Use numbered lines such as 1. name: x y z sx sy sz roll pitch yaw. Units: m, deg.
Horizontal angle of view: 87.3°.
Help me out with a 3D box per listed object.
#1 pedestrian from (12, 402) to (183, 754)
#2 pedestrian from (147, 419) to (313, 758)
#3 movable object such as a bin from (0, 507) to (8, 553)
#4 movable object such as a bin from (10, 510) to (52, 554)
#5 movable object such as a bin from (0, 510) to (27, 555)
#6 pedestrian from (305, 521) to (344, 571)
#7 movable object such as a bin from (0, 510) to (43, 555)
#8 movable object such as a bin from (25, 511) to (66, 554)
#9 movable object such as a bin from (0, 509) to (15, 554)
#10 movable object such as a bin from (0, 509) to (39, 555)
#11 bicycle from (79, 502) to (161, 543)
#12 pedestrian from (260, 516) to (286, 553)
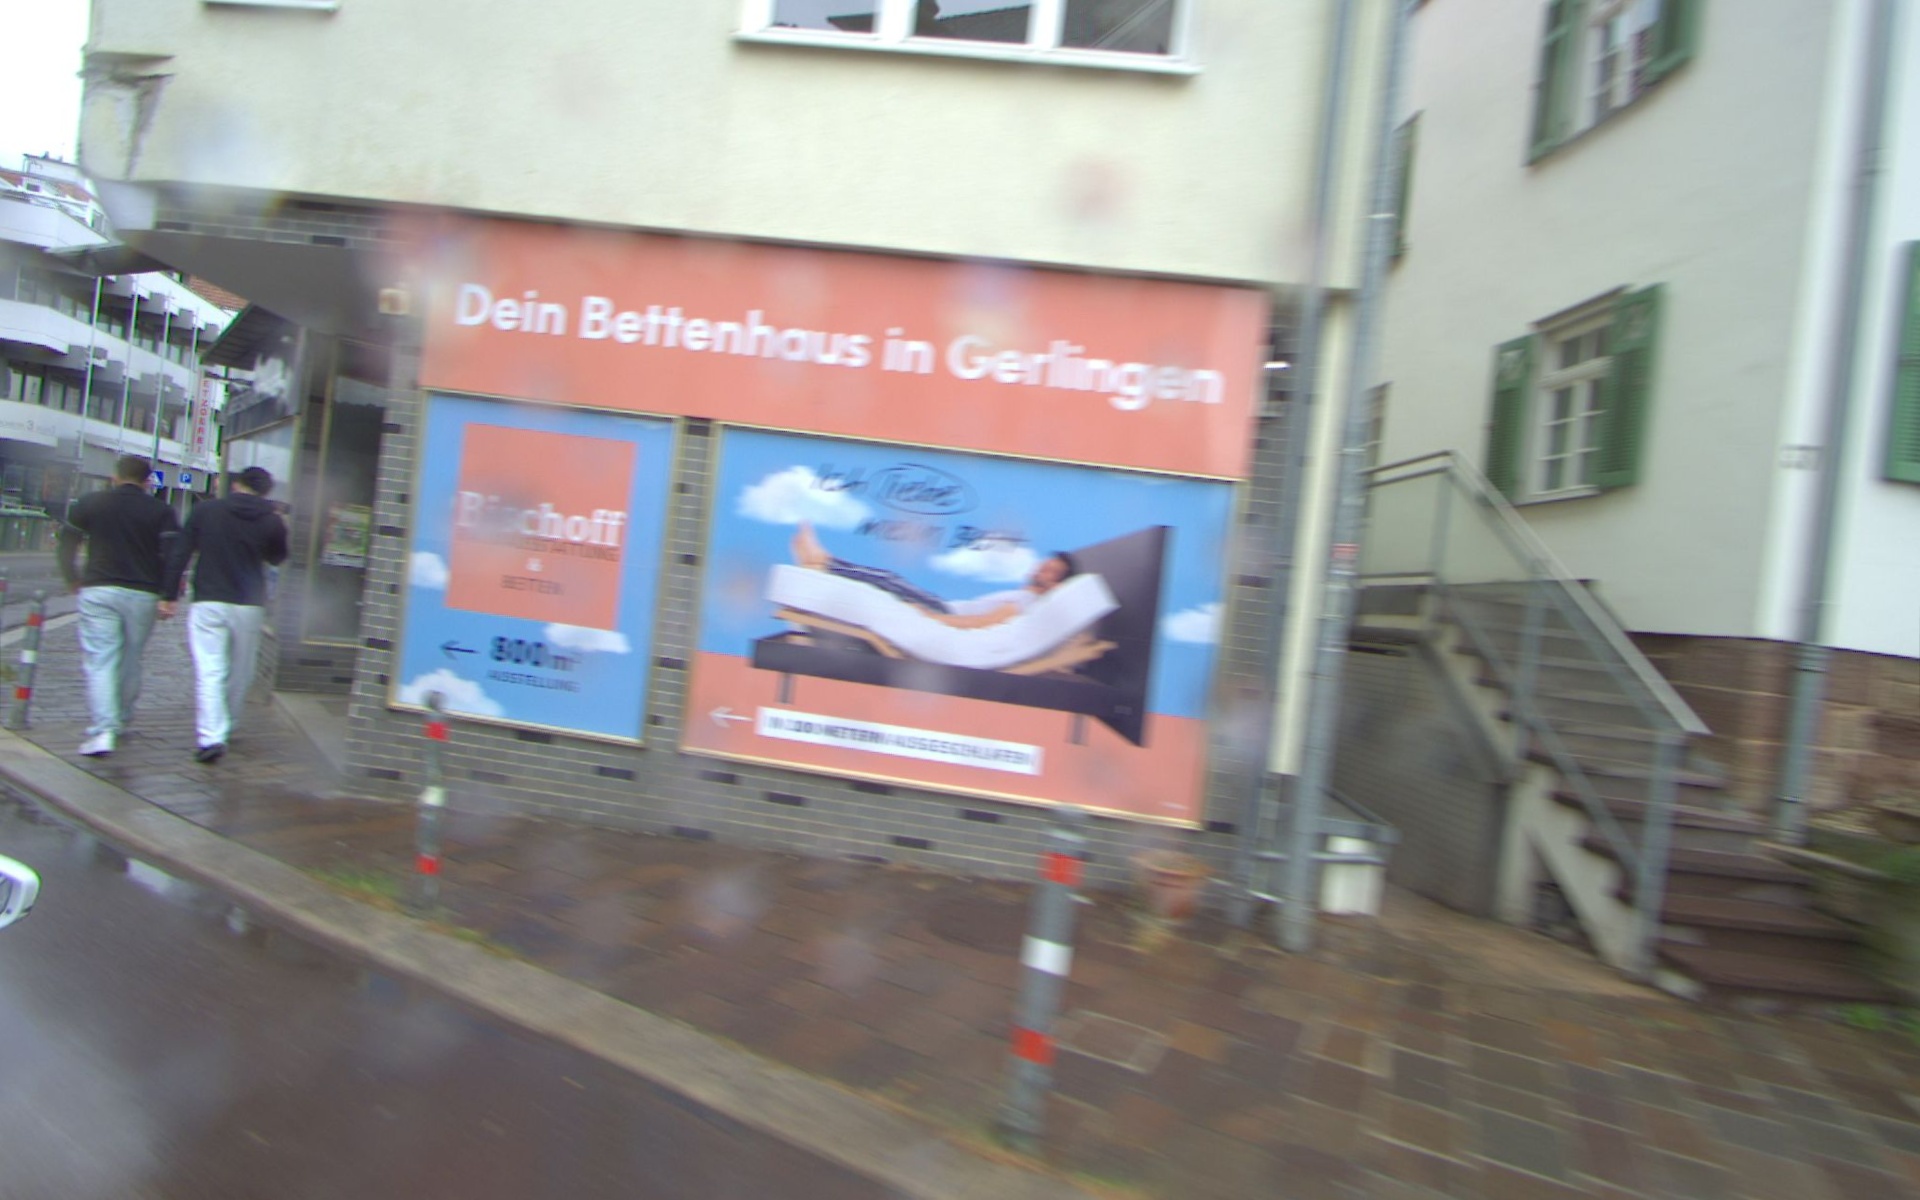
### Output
1. pedestrian: -5.401 -0.122 6.301 0.648 2.039 0.752 5 1 -43
2. pedestrian: -4.736 -0.063 6.521 0.648 2.039 0.752 5 1 -43
3. movable object such as a bin: -24.532 -1.800 25.293 0.626 1.142 0.574 5 0 -22
4. movable object such as a bin: -26.260 -1.905 28.451 0.626 1.142 0.574 5 0 -22
5. movable object such as a bin: -25.328 -1.806 26.669 0.626 1.142 0.574 5 0 -22
6. pedestrian: -27.736 -2.345 43.912 1.130 2.039 0.823 7 1 -23
7. movable object such as a bin: -26.005 -1.870 27.881 0.626 1.142 0.574 5 0 -22
8. movable object such as a bin: -26.393 -1.931 29.045 0.626 1.142 0.574 5 0 -22
9. movable object such as a bin: -24.938 -1.785 25.923 0.626 1.142 0.574 5 0 -22
10. movable object such as a bin: -25.585 -1.832 27.319 0.626 1.142 0.574 5 0 -22
11. bicycle: -34.302 -3.143 41.120 2.274 1.331 1.006 6 0 -18
12. pedestrian: -39.531 -3.755 57.906 0.826 2.039 1.004 5 0 -18
